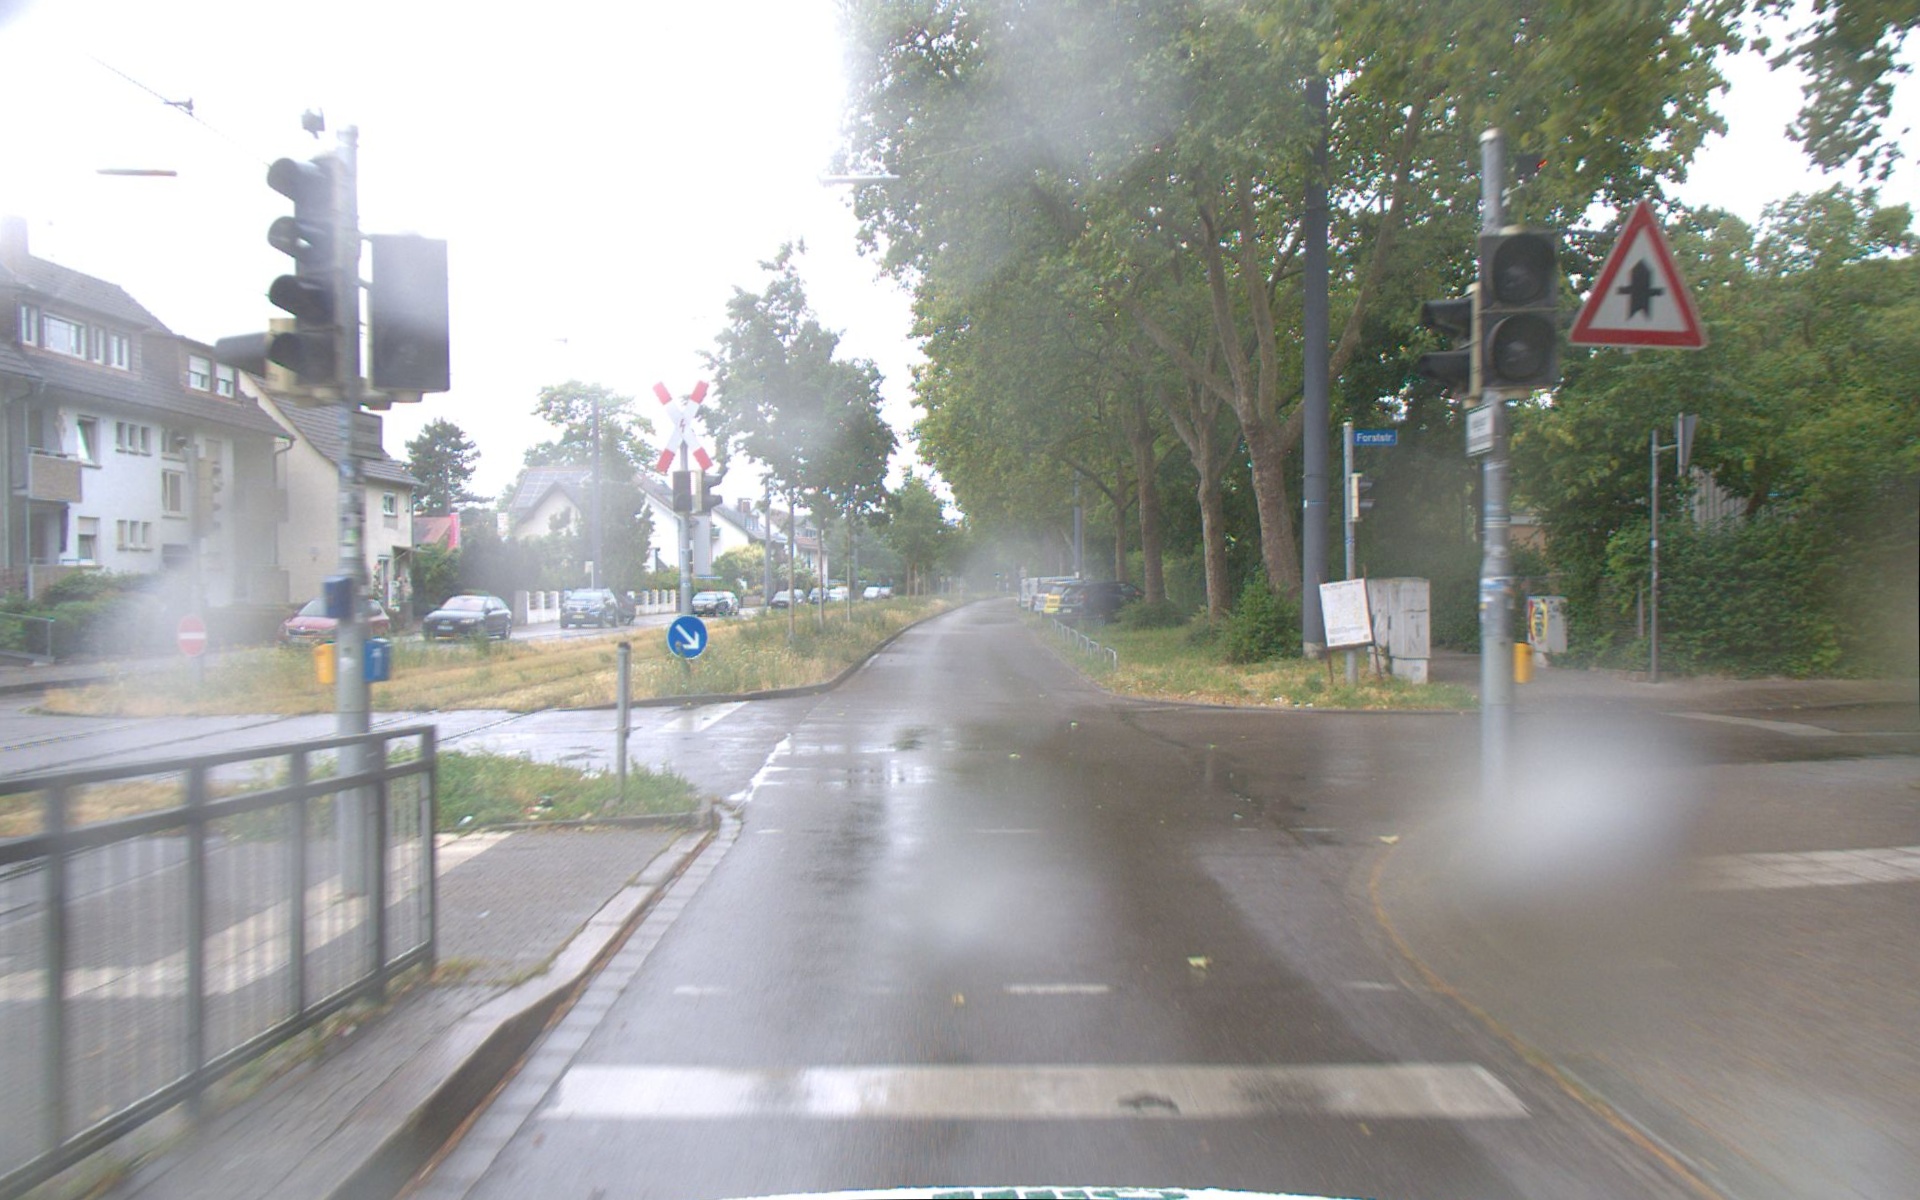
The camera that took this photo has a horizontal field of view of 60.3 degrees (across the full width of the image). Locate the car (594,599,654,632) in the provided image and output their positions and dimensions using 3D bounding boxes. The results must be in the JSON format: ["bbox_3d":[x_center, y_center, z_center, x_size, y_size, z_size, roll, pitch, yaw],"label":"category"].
[{"bbox_3d":[-15.689,0.711,77.369,1.888,1.512,4.001,0,0,2],"label":"car"}]

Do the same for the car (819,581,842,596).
[{"bbox_3d":[-13.011,-1.167,165.966,1.888,1.512,4.001,0,0,2],"label":"car"}]

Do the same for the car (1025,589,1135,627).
[{"bbox_3d":[4.734,0.311,65.507,3.922,1.478,1.991,0,0,-16],"label":"car"}]

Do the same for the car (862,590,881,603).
[{"bbox_3d":[-10.464,-0.445,196.167,1.888,1.512,4.001,0,0,2],"label":"car"}]

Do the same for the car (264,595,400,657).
[{"bbox_3d":[-16.060,0.646,42.513,1.888,1.512,4.001,0,0,2],"label":"car"}]

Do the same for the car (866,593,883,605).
[{"bbox_3d":[-10.831,-0.170,209.905,1.888,1.512,4.001,0,0,2],"label":"car"}]

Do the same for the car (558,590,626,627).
[{"bbox_3d":[-15.608,0.353,70.391,1.888,1.512,4.001,0,0,2],"label":"car"}]

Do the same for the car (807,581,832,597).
[{"bbox_3d":[-13.071,-1.022,153.852,1.888,1.512,4.001,0,0,2],"label":"car"}]

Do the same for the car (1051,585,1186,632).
[{"bbox_3d":[5.123,0.264,53.634,3.922,1.478,1.991,0,0,-16],"label":"car"}]

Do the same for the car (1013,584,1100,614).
[{"bbox_3d":[4.755,-0.056,81.741,3.922,1.478,1.991,0,0,-16],"label":"car"}]

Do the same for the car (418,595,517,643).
[{"bbox_3d":[-15.869,0.598,53.489,1.888,1.512,4.001,0,0,2],"label":"car"}]

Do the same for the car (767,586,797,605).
[{"bbox_3d":[-14.150,-0.358,131.631,1.888,1.512,4.001,0,0,2],"label":"car"}]

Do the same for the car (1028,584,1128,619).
[{"bbox_3d":[5.084,0.050,71.557,3.922,1.478,1.991,0,0,-16],"label":"car"}]
